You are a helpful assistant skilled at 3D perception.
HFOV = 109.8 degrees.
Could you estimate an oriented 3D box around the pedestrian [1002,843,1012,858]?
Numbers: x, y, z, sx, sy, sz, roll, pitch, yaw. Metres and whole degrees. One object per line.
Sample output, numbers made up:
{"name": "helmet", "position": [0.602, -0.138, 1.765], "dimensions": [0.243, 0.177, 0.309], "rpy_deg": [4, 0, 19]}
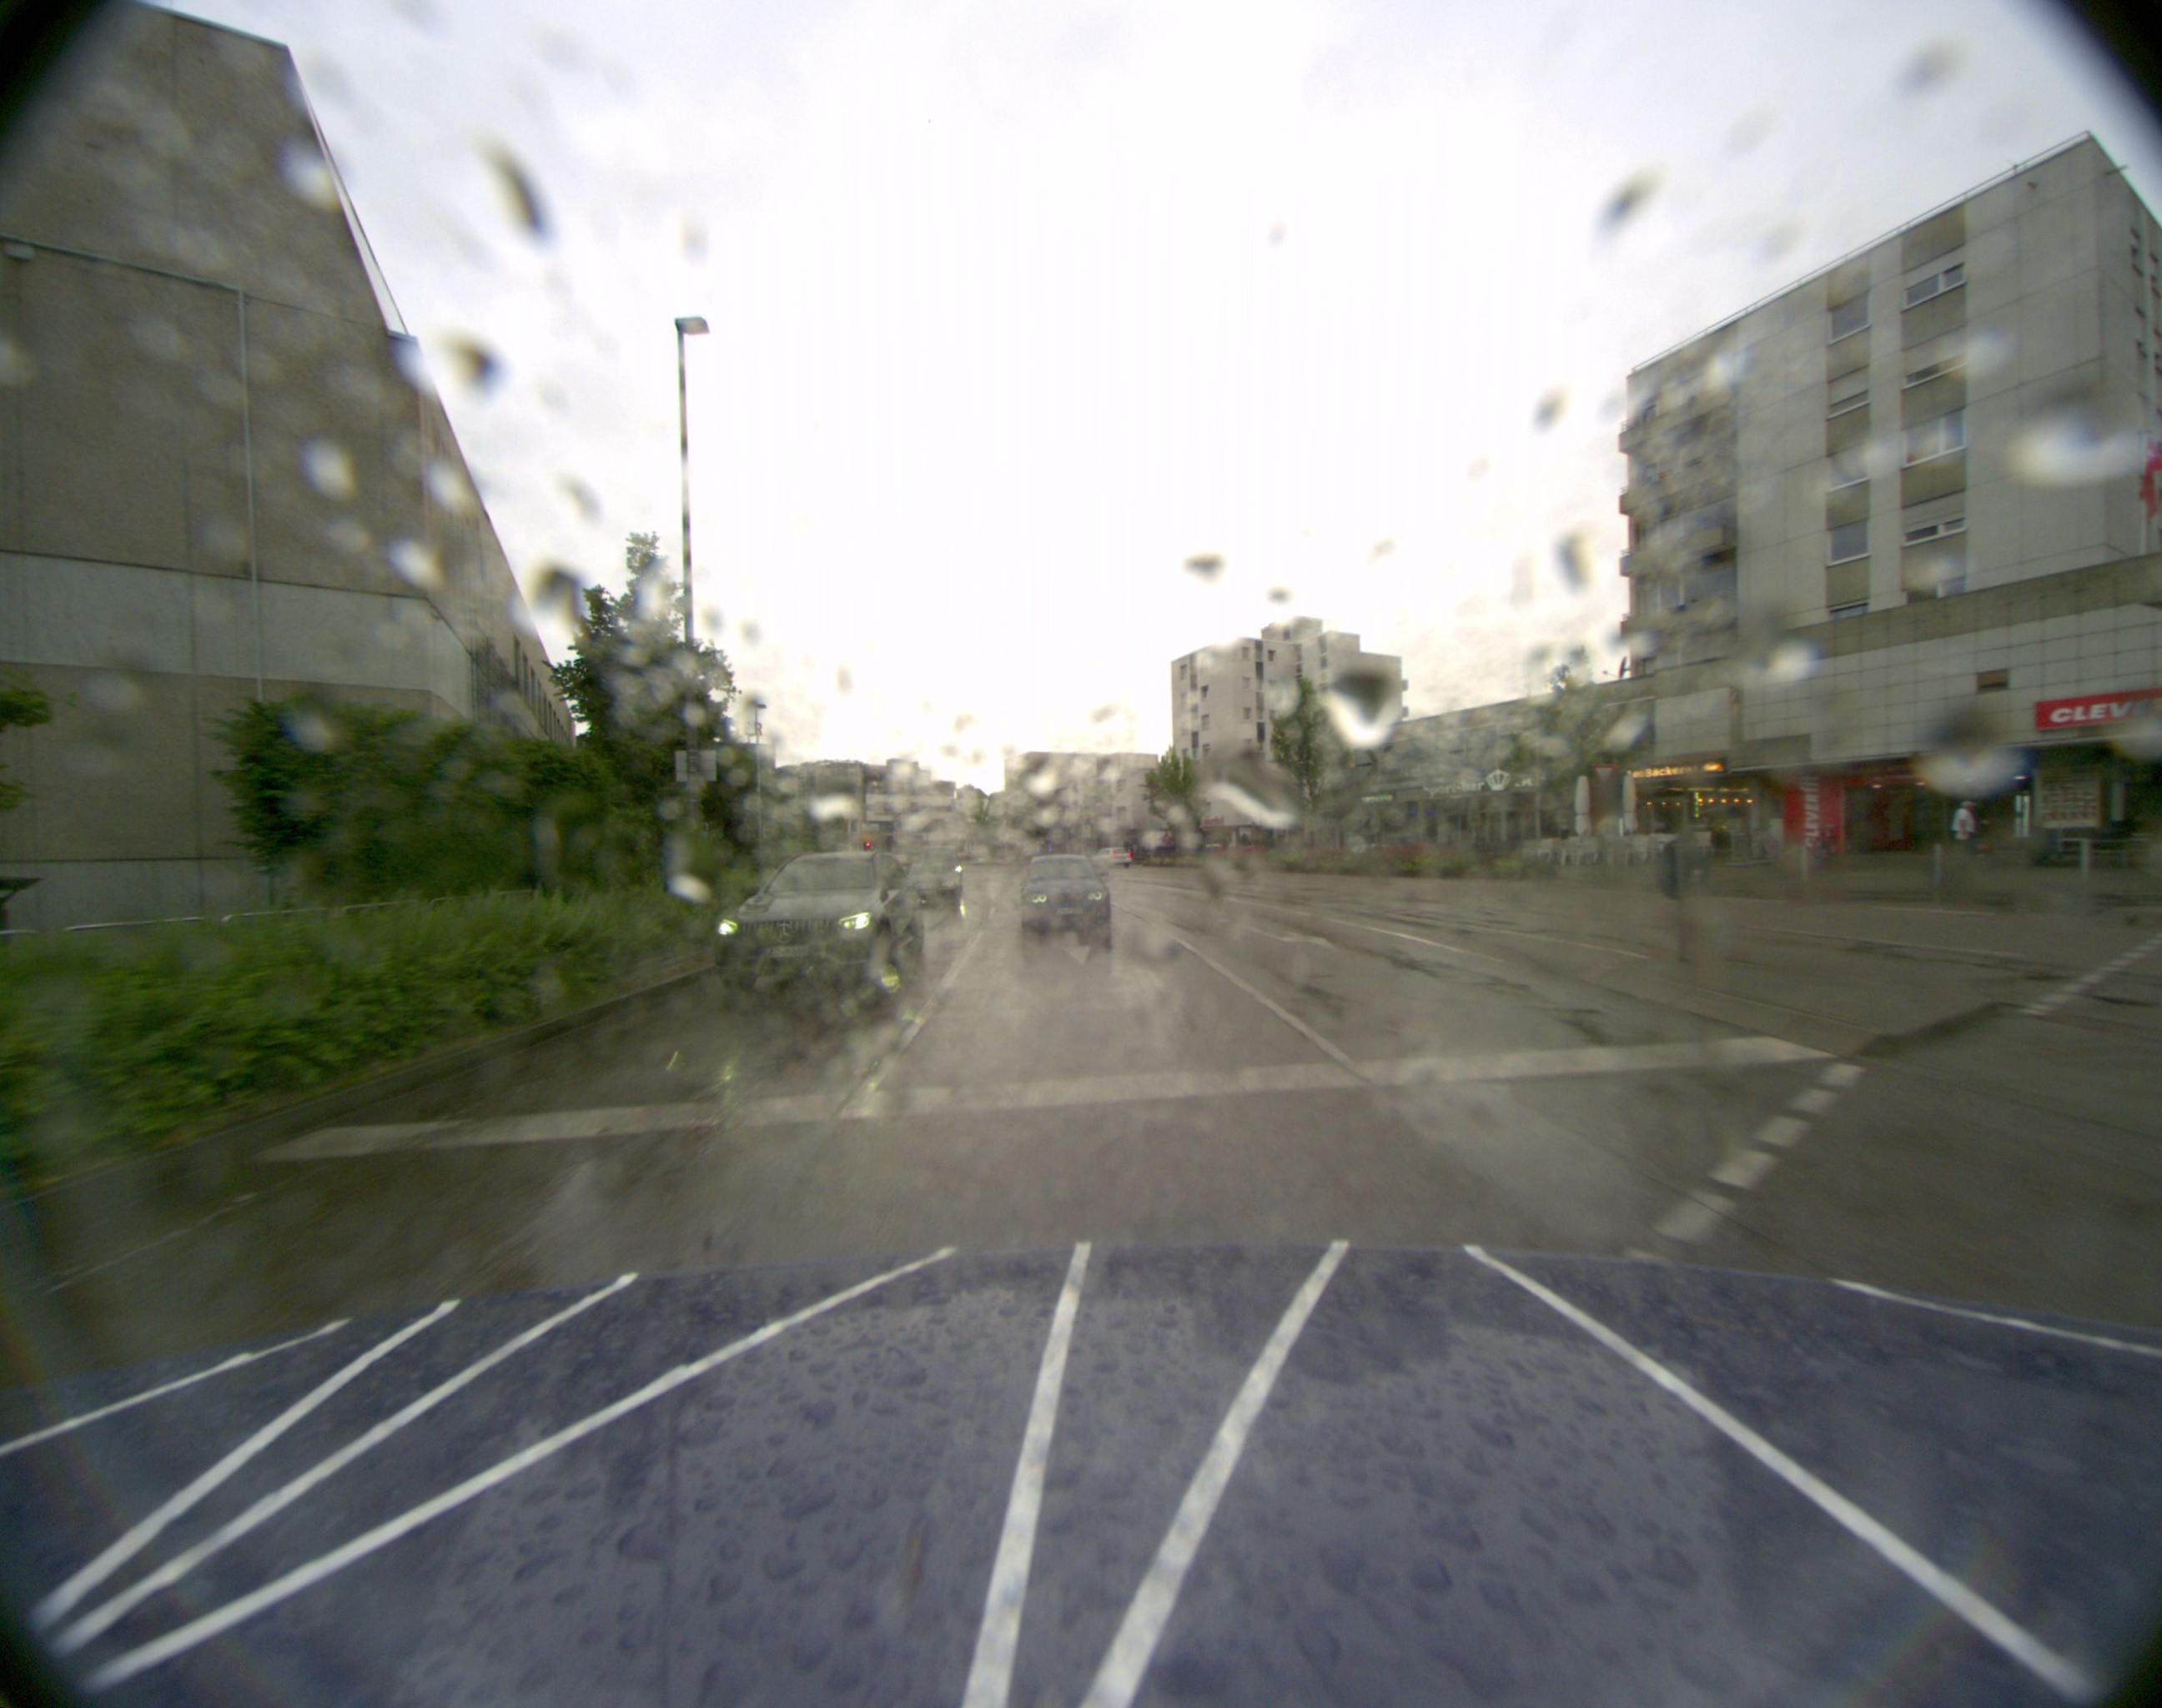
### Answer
{"name": "pedestrian", "position": [-9.837, -0.468, 100.633], "dimensions": [0.907, 1.904, 0.975], "rpy_deg": [-3, 1, -27]}

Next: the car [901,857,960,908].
{"name": "car", "position": [-4.770, 0.846, 24.534], "dimensions": [1.637, 1.378, 4.510], "rpy_deg": [-3, 1, -9]}

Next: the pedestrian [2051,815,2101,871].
{"name": "pedestrian", "position": [24.474, -0.268, 18.694], "dimensions": [0.497, 1.340, 0.537], "rpy_deg": [-2, 2, 7]}

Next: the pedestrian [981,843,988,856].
{"name": "pedestrian", "position": [-14.535, -0.666, 114.702], "dimensions": [0.762, 2.002, 0.862], "rpy_deg": [-3, 1, -28]}

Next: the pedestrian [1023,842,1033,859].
{"name": "pedestrian", "position": [-6.478, -0.438, 92.675], "dimensions": [0.907, 2.002, 0.975], "rpy_deg": [-3, 1, -27]}

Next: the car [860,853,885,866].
{"name": "car", "position": [-24.881, 0.681, 90.790], "dimensions": [1.766, 1.443, 3.991], "rpy_deg": [-3, 0, -32]}

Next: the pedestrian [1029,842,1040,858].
{"name": "pedestrian", "position": [-5.676, -0.471, 93.219], "dimensions": [0.907, 2.002, 0.975], "rpy_deg": [-3, 1, -27]}

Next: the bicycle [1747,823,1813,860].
{"name": "bicycle", "position": [24.413, -0.440, 26.517], "dimensions": [2.556, 1.216, 0.695], "rpy_deg": [-3, 1, -23]}

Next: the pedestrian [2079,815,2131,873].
{"name": "pedestrian", "position": [24.380, -0.246, 18.099], "dimensions": [0.497, 1.340, 0.537], "rpy_deg": [-2, 1, 9]}

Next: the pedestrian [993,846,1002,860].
{"name": "pedestrian", "position": [-11.047, -0.151, 100.905], "dimensions": [0.907, 1.904, 0.976], "rpy_deg": [-2, 1, -18]}

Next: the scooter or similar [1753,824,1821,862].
{"name": "scooter or similar", "position": [23.239, -0.369, 25.004], "dimensions": [2.596, 1.167, 0.641], "rpy_deg": [-2, 1, -24]}

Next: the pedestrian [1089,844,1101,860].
{"name": "pedestrian", "position": [1.464, -0.254, 79.448], "dimensions": [1.012, 1.636, 0.725], "rpy_deg": [-3, 2, -27]}

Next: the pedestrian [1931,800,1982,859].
{"name": "pedestrian", "position": [25.684, -0.711, 22.290], "dimensions": [0.714, 1.683, 0.657], "rpy_deg": [-2, 1, 11]}

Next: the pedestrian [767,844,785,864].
{"name": "pedestrian", "position": [-19.781, -0.016, 49.243], "dimensions": [1.034, 1.274, 0.690], "rpy_deg": [0, 0, -28]}

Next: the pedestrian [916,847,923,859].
{"name": "pedestrian", "position": [-25.598, -0.149, 120.316], "dimensions": [0.840, 1.733, 0.584], "rpy_deg": [-3, 2, -20]}

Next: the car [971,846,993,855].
{"name": "car", "position": [-18.948, -0.659, 145.278], "dimensions": [3.903, 1.710, 1.742], "rpy_deg": [-3, 1, -44]}

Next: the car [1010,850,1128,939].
{"name": "car", "position": [-0.108, 0.728, 15.679], "dimensions": [1.675, 1.534, 3.916], "rpy_deg": [-2, 0, 10]}

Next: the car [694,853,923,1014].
{"name": "car", "position": [-3.385, 0.851, 10.396], "dimensions": [1.907, 1.611, 4.332], "rpy_deg": [-2, 1, -6]}

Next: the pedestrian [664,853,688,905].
{"name": "pedestrian", "position": [-14.643, 0.893, 27.493], "dimensions": [0.675, 1.787, 0.672], "rpy_deg": [-3, 3, -30]}

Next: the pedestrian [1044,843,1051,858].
{"name": "pedestrian", "position": [-4.178, -0.427, 94.231], "dimensions": [0.550, 1.740, 0.679], "rpy_deg": [-3, 1, -24]}

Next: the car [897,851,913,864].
{"name": "car", "position": [-22.793, 0.436, 98.281], "dimensions": [1.849, 1.452, 4.802], "rpy_deg": [-3, 1, -14]}

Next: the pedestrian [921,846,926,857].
{"name": "pedestrian", "position": [-25.318, -0.332, 122.132], "dimensions": [0.683, 1.733, 0.584], "rpy_deg": [-3, 2, -1]}

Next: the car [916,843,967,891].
{"name": "car", "position": [-6.260, 0.507, 33.987], "dimensions": [2.002, 1.883, 4.581], "rpy_deg": [-3, 1, -11]}

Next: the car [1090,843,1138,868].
{"name": "car", "position": [2.415, 0.097, 56.280], "dimensions": [1.893, 1.673, 4.497], "rpy_deg": [-3, 1, -20]}

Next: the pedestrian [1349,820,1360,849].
{"name": "pedestrian", "position": [17.324, -1.251, 48.160], "dimensions": [0.427, 1.837, 0.500], "rpy_deg": [-2, 1, -16]}
